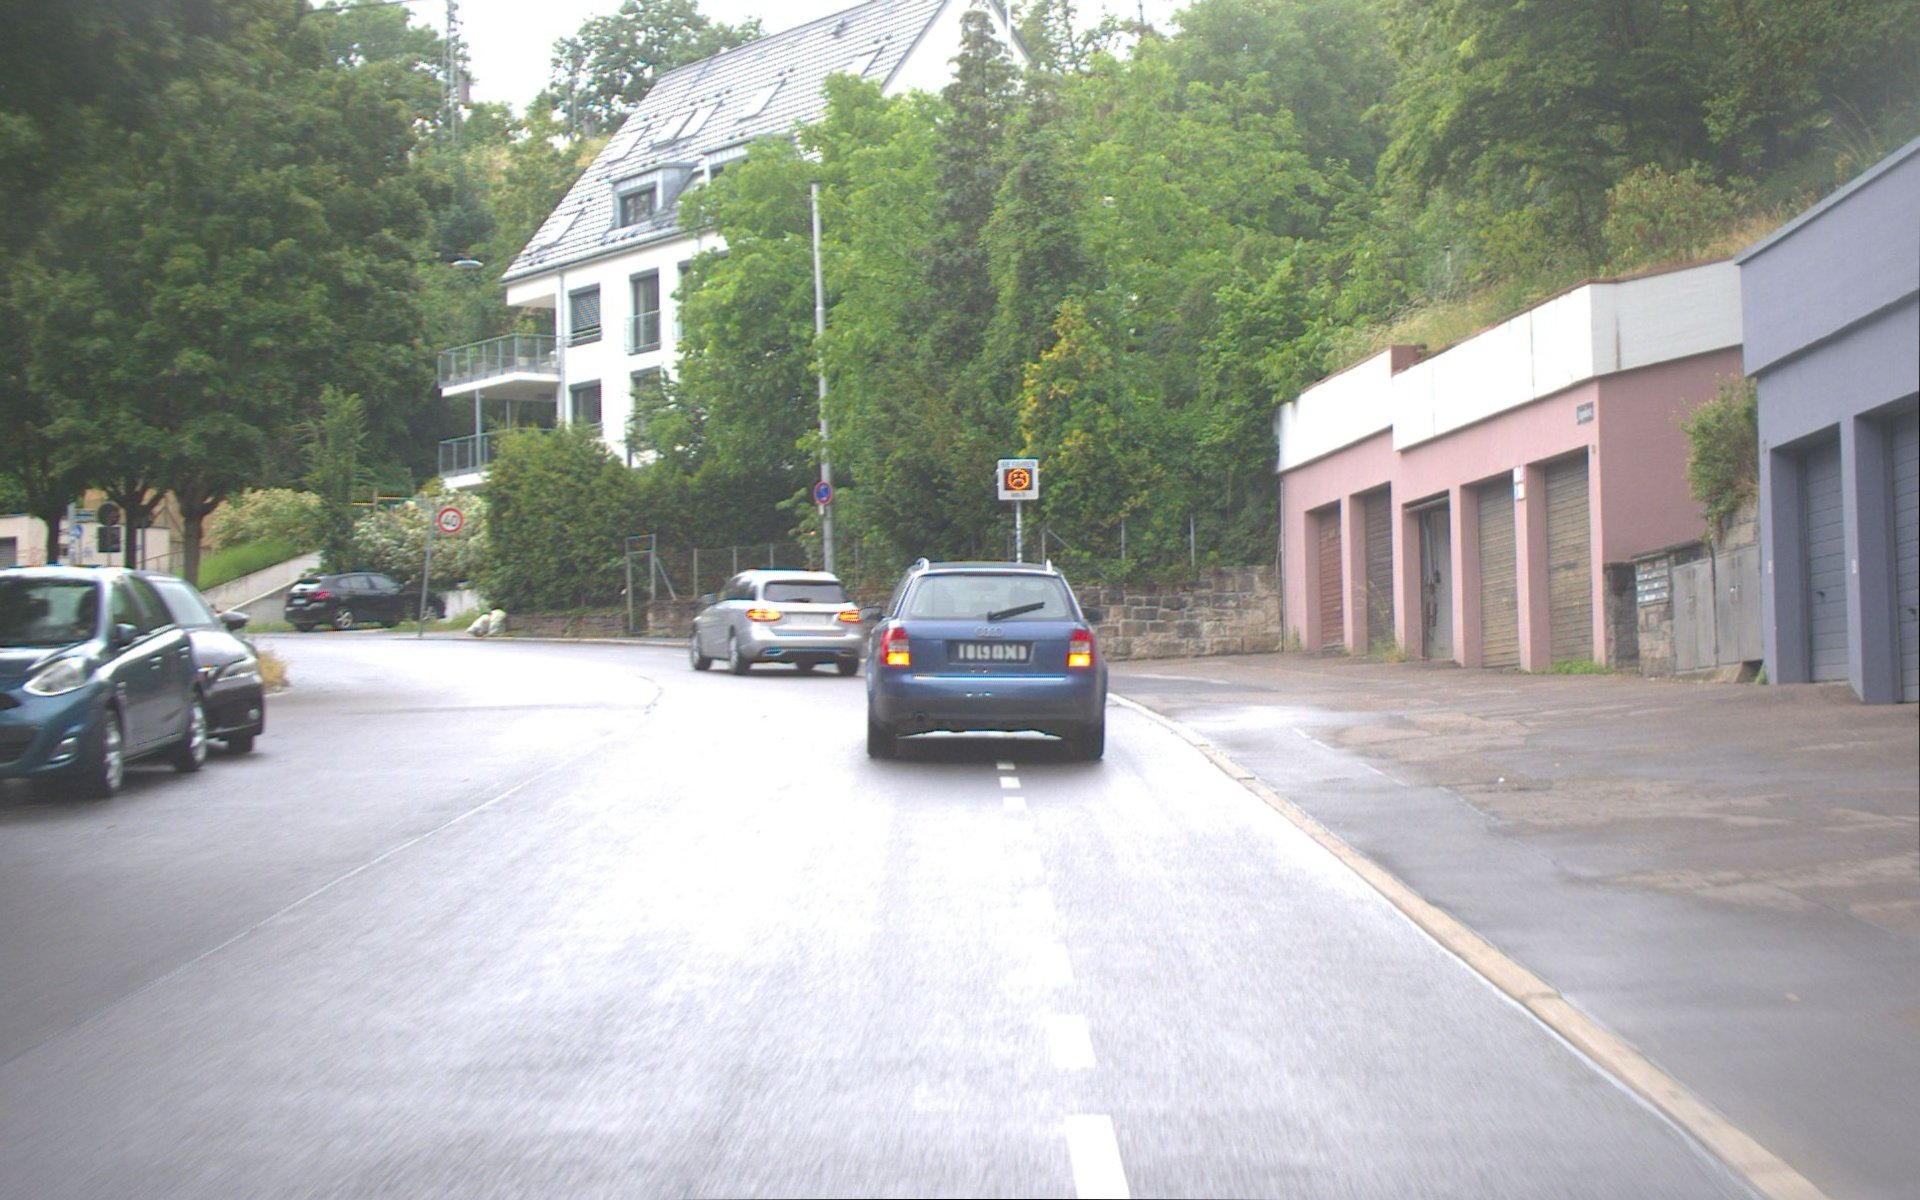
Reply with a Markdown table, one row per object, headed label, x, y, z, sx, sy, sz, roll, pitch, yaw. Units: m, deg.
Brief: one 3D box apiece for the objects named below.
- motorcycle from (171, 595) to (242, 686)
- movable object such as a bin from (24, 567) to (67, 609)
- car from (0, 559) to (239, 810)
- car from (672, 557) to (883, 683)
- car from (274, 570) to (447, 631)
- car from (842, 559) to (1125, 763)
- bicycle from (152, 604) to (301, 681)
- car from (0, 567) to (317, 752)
| label | x | y | z | sx | sy | sz | roll | pitch | yaw |
| --- | --- | --- | --- | --- | --- | --- | --- | --- | --- |
| motorcycle | -10.148 | 0.538 | 46.308 | 0.557 | 1.199 | 1.398 | 0 | 1 | 4 |
| movable object such as a bin | -25.970 | -0.337 | 97.639 | 0.786 | 1.181 | 0.861 | 1 | 1 | 25 |
| car | -6.200 | 0.502 | 23.359 | 1.712 | 1.457 | 3.881 | 1 | 2 | 1 |
| car | -2.641 | 0.252 | 48.821 | 1.949 | 1.556 | 4.265 | 3 | 1 | -17 |
| car | -15.190 | -0.004 | 87.251 | 1.739 | 1.503 | 4.173 | 0 | 0 | 40 |
| car | 0.092 | 0.398 | 26.125 | 1.853 | 1.409 | 4.362 | 0 | 1 | -3 |
| bicycle | -10.499 | 0.604 | 49.229 | 1.962 | 1.056 | 0.754 | 0 | 1 | -24 |
| car | -6.821 | 0.443 | 28.090 | 1.993 | 1.386 | 4.198 | 0 | 0 | -27 |
